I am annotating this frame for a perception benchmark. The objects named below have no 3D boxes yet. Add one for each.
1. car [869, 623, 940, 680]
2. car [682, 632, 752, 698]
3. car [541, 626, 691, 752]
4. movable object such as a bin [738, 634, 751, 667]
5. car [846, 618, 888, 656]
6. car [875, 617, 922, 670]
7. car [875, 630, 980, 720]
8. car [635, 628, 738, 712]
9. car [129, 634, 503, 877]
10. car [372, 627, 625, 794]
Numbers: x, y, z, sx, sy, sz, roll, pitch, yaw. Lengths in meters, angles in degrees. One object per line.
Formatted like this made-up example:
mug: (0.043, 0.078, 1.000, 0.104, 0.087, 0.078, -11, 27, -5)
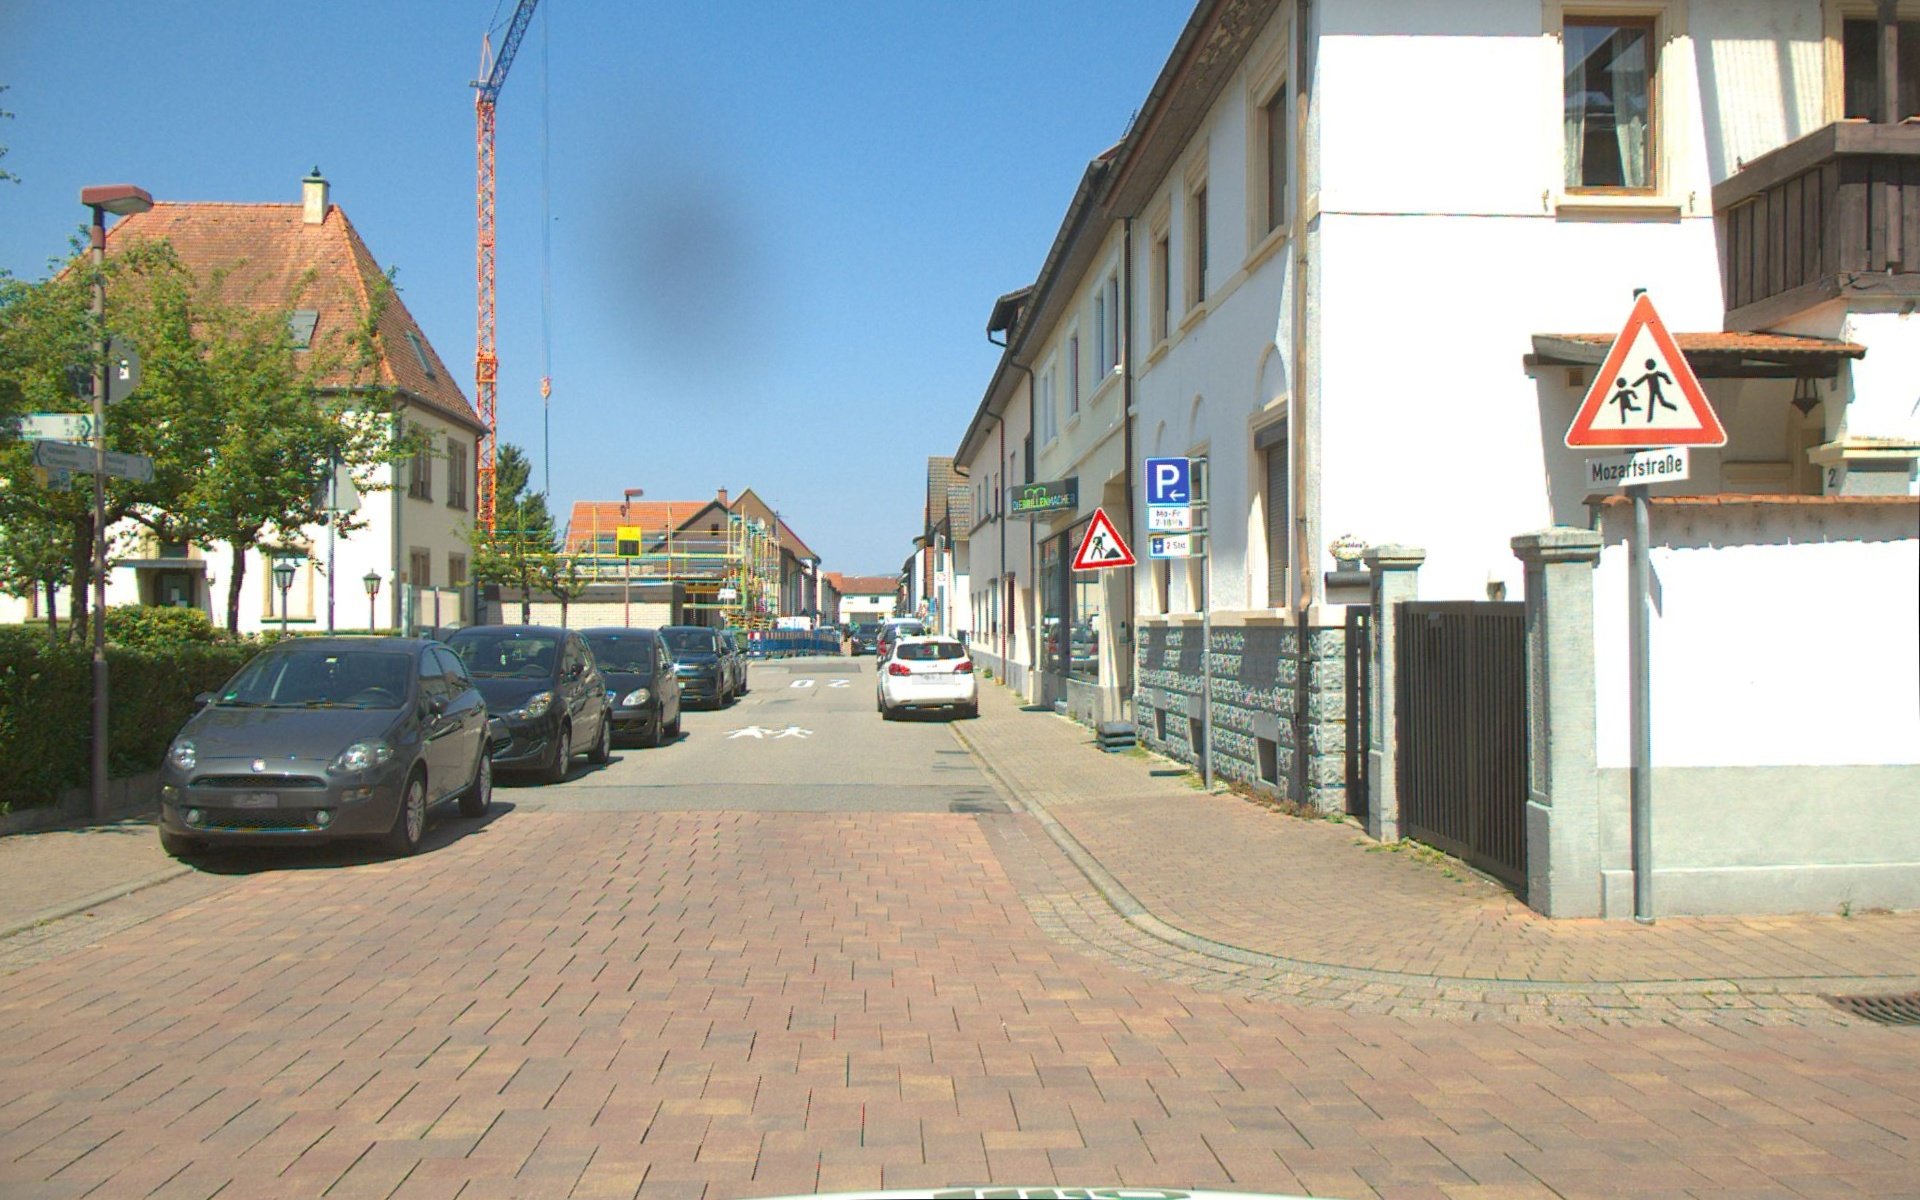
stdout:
car: (-1.759, 1.560, 51.186, 1.848, 1.583, 3.889, -4, 0, -6)
car: (-5.866, 1.542, 40.210, 1.408, 1.500, 3.783, 0, -1, -4)
car: (-4.914, 1.218, 24.040, 1.605, 1.657, 3.765, 0, -1, -4)
movable object such as a bin: (-7.807, 1.838, 59.845, 0.424, 1.176, 0.363, 0, -1, -13)
car: (-4.261, 1.695, 75.515, 1.844, 1.698, 4.150, 0, -1, -4)
car: (-2.108, 1.463, 56.350, 1.533, 1.641, 3.540, 0, 1, -3)
car: (-0.611, 1.367, 31.400, 1.848, 1.569, 4.241, 0, -1, -1)
car: (-5.691, 1.422, 34.787, 1.790, 1.659, 4.212, 0, -1, -5)
car: (-4.631, 1.024, 12.485, 1.669, 1.523, 3.851, 0, -1, -6)
car: (-4.965, 1.128, 18.360, 1.778, 1.633, 4.022, 0, -1, -2)
